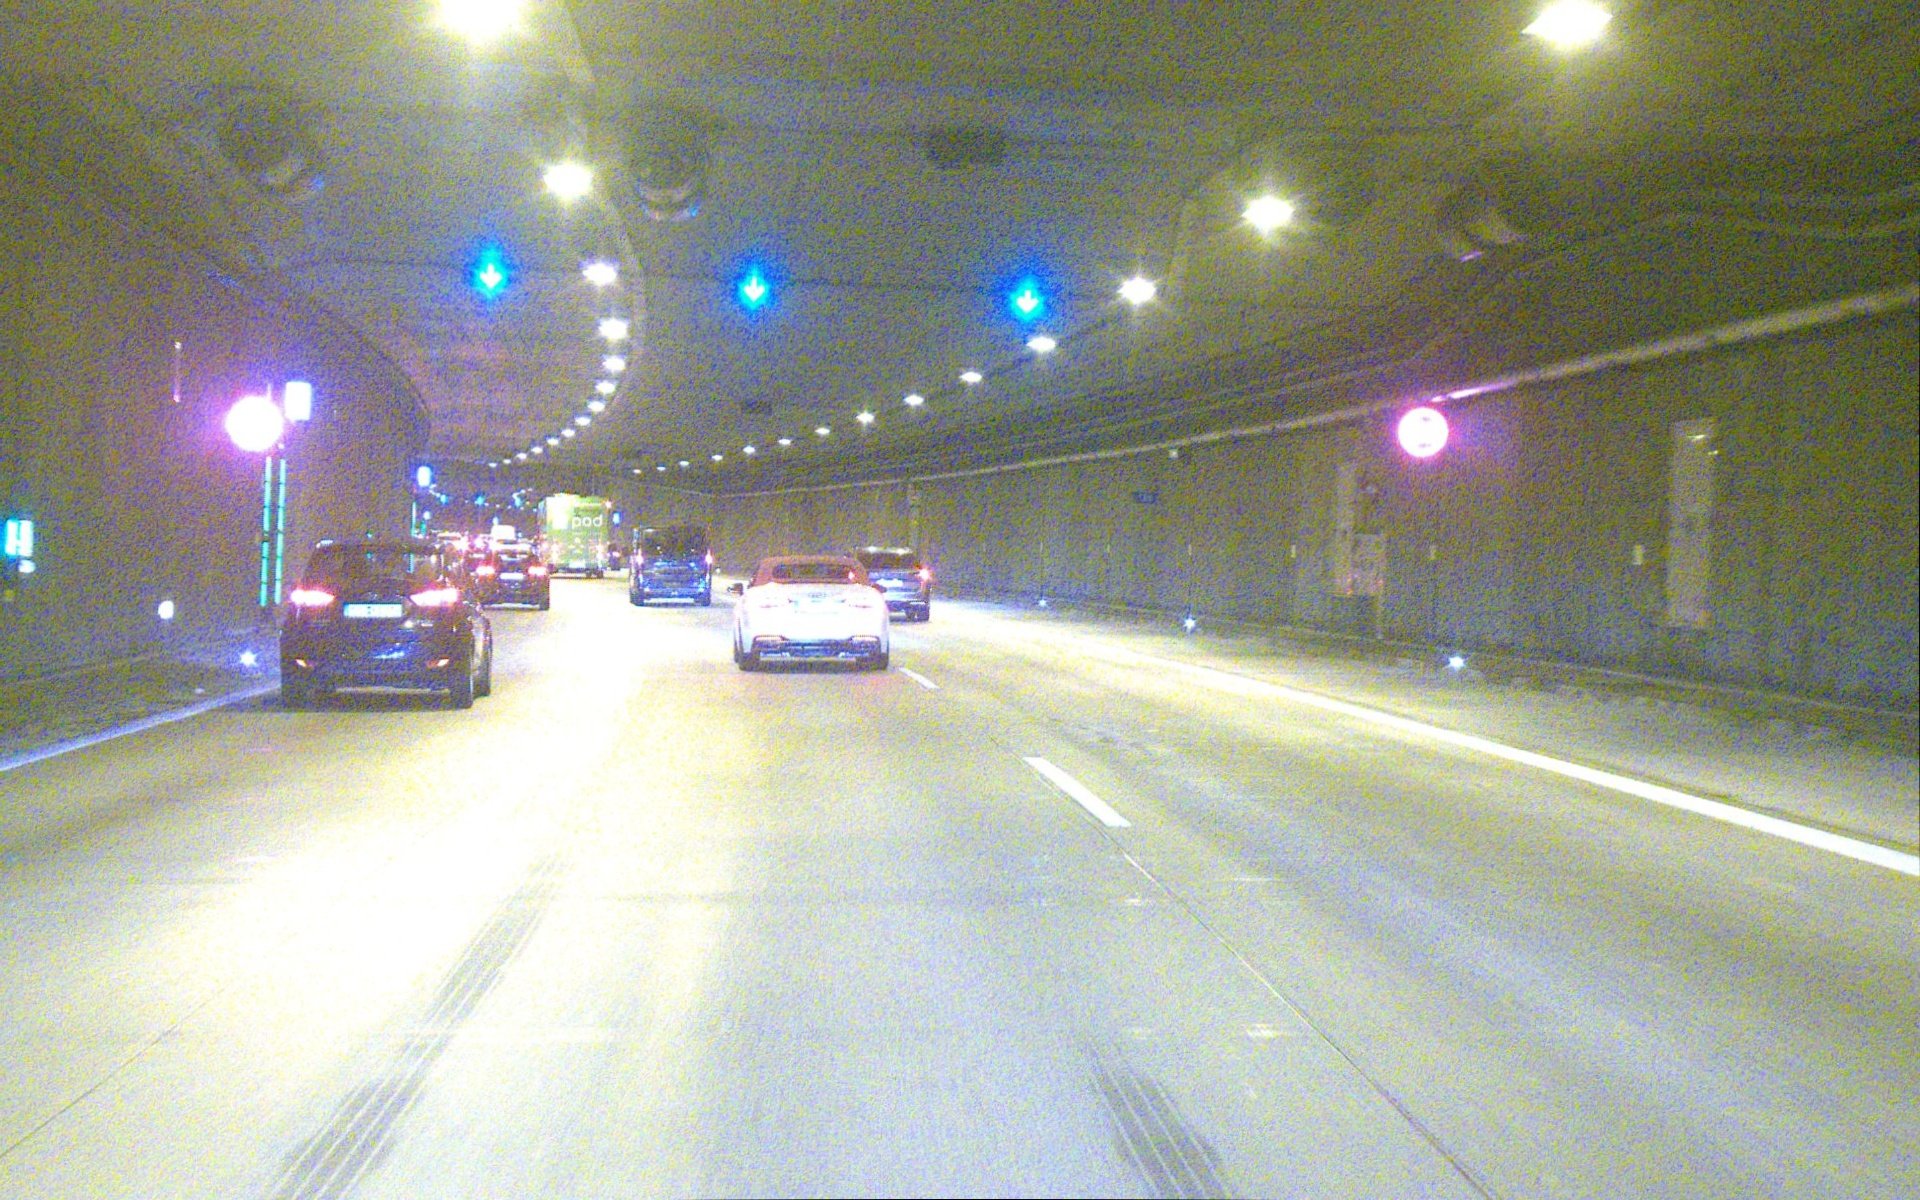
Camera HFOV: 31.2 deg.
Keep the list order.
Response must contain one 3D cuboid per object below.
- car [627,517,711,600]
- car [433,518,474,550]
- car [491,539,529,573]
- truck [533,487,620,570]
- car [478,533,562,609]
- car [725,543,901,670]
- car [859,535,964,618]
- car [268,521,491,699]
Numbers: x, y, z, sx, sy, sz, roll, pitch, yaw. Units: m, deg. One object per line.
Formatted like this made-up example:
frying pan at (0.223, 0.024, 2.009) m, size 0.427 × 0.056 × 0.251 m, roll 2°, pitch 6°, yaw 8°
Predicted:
car at (-7.131, -1.007, 84.365) m, size 1.993 × 1.965 × 4.001 m, roll 0°, pitch 0°, yaw -4°
car at (-25.706, -3.315, 174.332) m, size 1.993 × 1.525 × 4.001 m, roll 1°, pitch 0°, yaw -9°
car at (-24.618, -2.393, 188.192) m, size 1.993 × 1.748 × 4.001 m, roll 1°, pitch 0°, yaw -6°
truck at (-15.335, -2.877, 136.921) m, size 3.082 × 3.102 × 10.032 m, roll 2°, pitch 1°, yaw -8°
car at (-10.128, -0.667, 79.258) m, size 1.800 × 1.678 × 4.001 m, roll 1°, pitch 1°, yaw -6°
car at (-1.869, 0.046, 42.559) m, size 1.993 × 1.478 × 4.001 m, roll 1°, pitch 1°, yaw -5°
car at (-1.012, -0.476, 69.285) m, size 1.839 × 1.597 × 4.001 m, roll 1°, pitch 1°, yaw -4°
car at (-5.511, 0.063, 33.013) m, size 1.785 × 1.593 × 3.802 m, roll 1°, pitch 1°, yaw -5°
